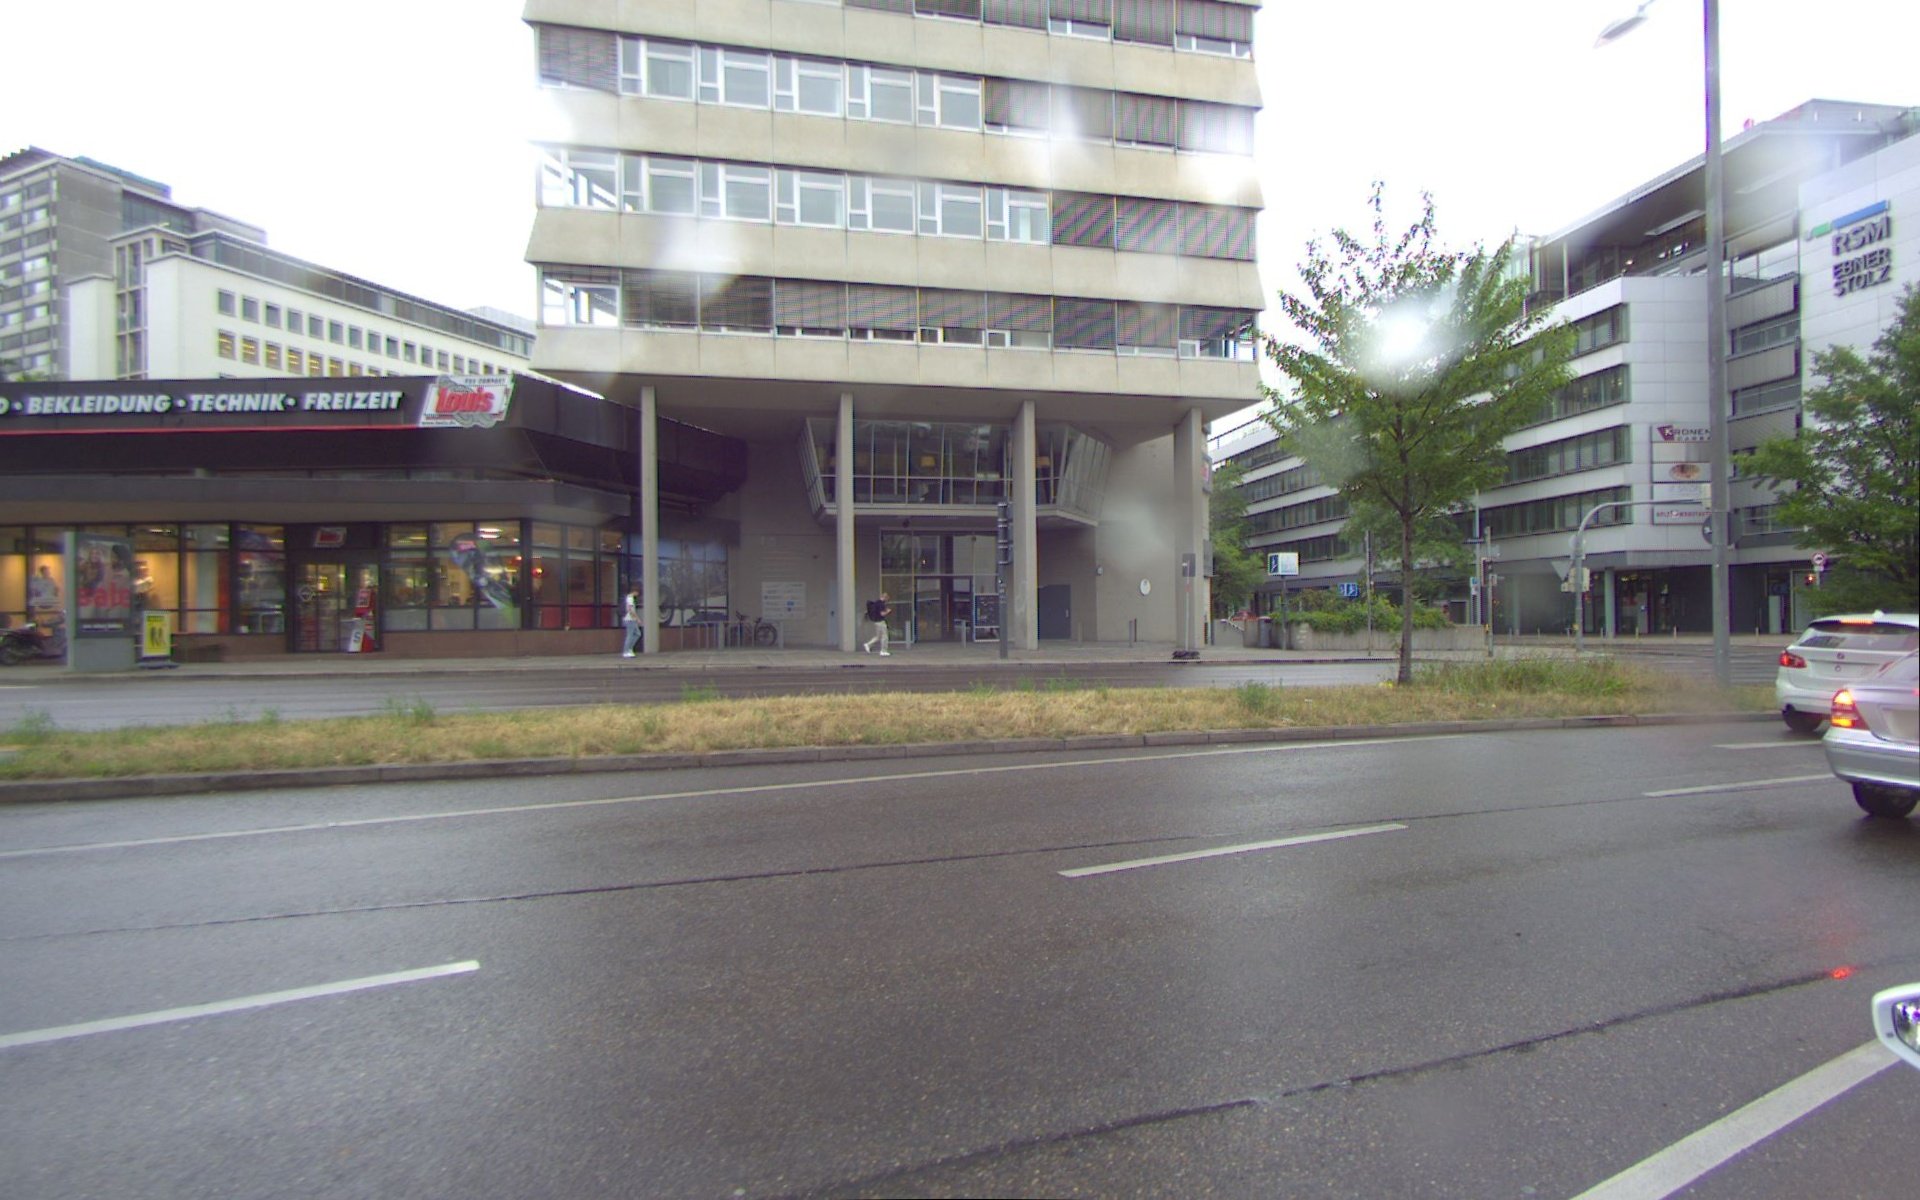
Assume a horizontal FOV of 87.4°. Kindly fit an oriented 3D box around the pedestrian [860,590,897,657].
[{"bbox_3d":[-2.300,0.650,28.349,0.909,1.857,0.727,1,-1,-14],"label":"pedestrian"}]

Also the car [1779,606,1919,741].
[{"bbox_3d":[13.216,0.910,13.272,3.936,1.617,1.884,1,0,-18],"label":"car"}]

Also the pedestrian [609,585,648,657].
[{"bbox_3d":[-8.728,0.547,26.472,0.909,1.857,0.817,0,0,-13],"label":"pedestrian"}]

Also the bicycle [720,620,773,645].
[{"bbox_3d":[-7.260,1.113,34.146,1.742,0.823,0.454,1,0,-12],"label":"bicycle"}]

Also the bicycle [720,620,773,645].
[{"bbox_3d":[-7.370,1.115,34.727,1.742,0.823,0.454,1,0,-12],"label":"bicycle"}]

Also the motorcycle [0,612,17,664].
[{"bbox_3d":[-25.717,1.001,25.499,0.709,1.351,2.822,1,0,4],"label":"motorcycle"}]

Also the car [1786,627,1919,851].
[{"bbox_3d":[8.421,0.968,7.561,4.136,1.505,1.679,1,-1,-23],"label":"car"}]

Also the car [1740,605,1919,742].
[{"bbox_3d":[12.641,0.886,13.102,4.217,1.594,1.783,1,-1,-16],"label":"car"}]

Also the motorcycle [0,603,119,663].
[{"bbox_3d":[-22.778,0.791,25.206,0.788,1.392,2.894,1,0,3],"label":"motorcycle"}]
